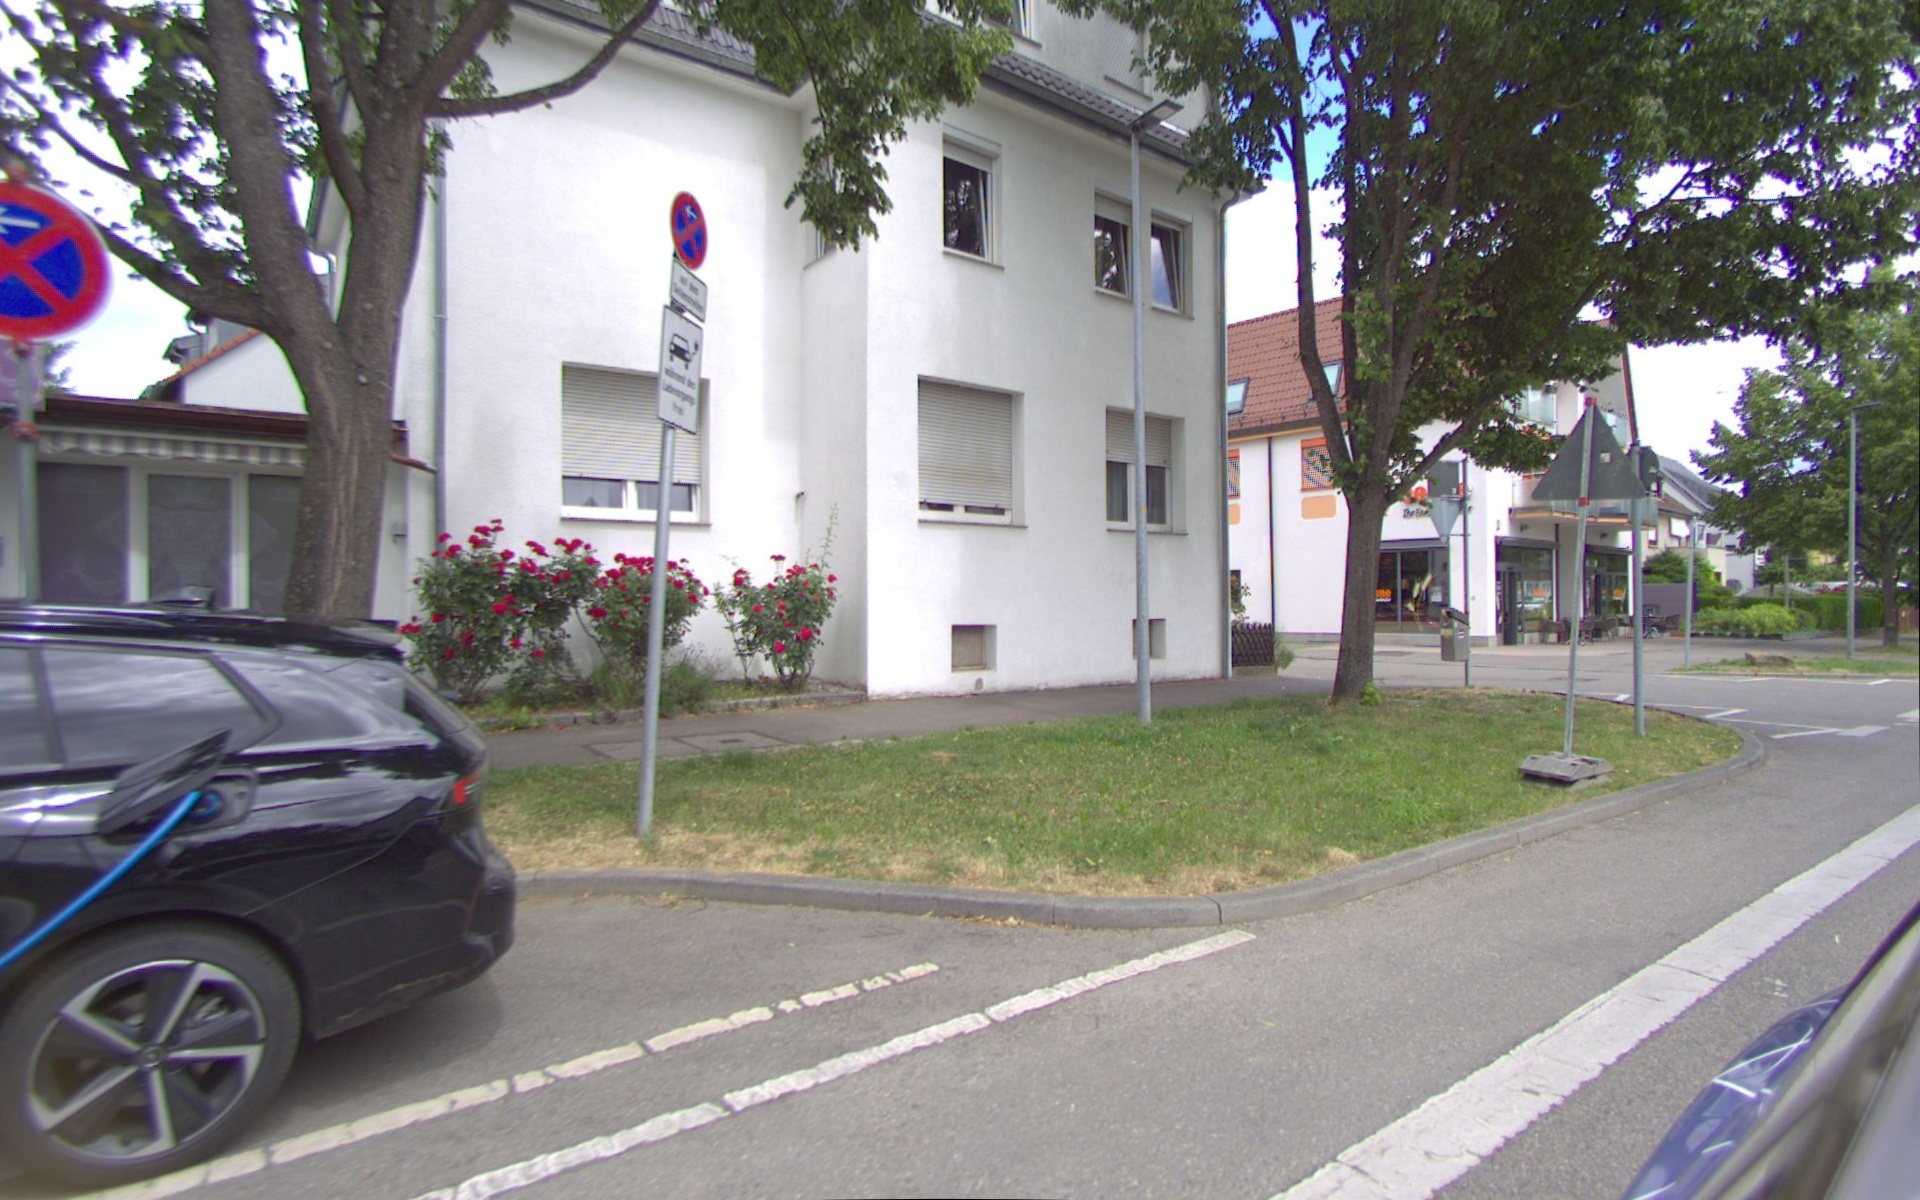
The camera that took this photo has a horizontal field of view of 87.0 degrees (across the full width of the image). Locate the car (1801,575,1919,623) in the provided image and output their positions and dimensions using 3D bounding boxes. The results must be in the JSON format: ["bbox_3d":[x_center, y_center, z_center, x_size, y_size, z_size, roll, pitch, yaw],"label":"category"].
[{"bbox_3d":[51.467,-0.051,57.292,1.962,2.625,5.723,1,-1,-40],"label":"car"}]

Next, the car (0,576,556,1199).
[{"bbox_3d":[-3.529,0.670,2.343,4.532,1.473,1.710,0,1,-38],"label":"car"}]
